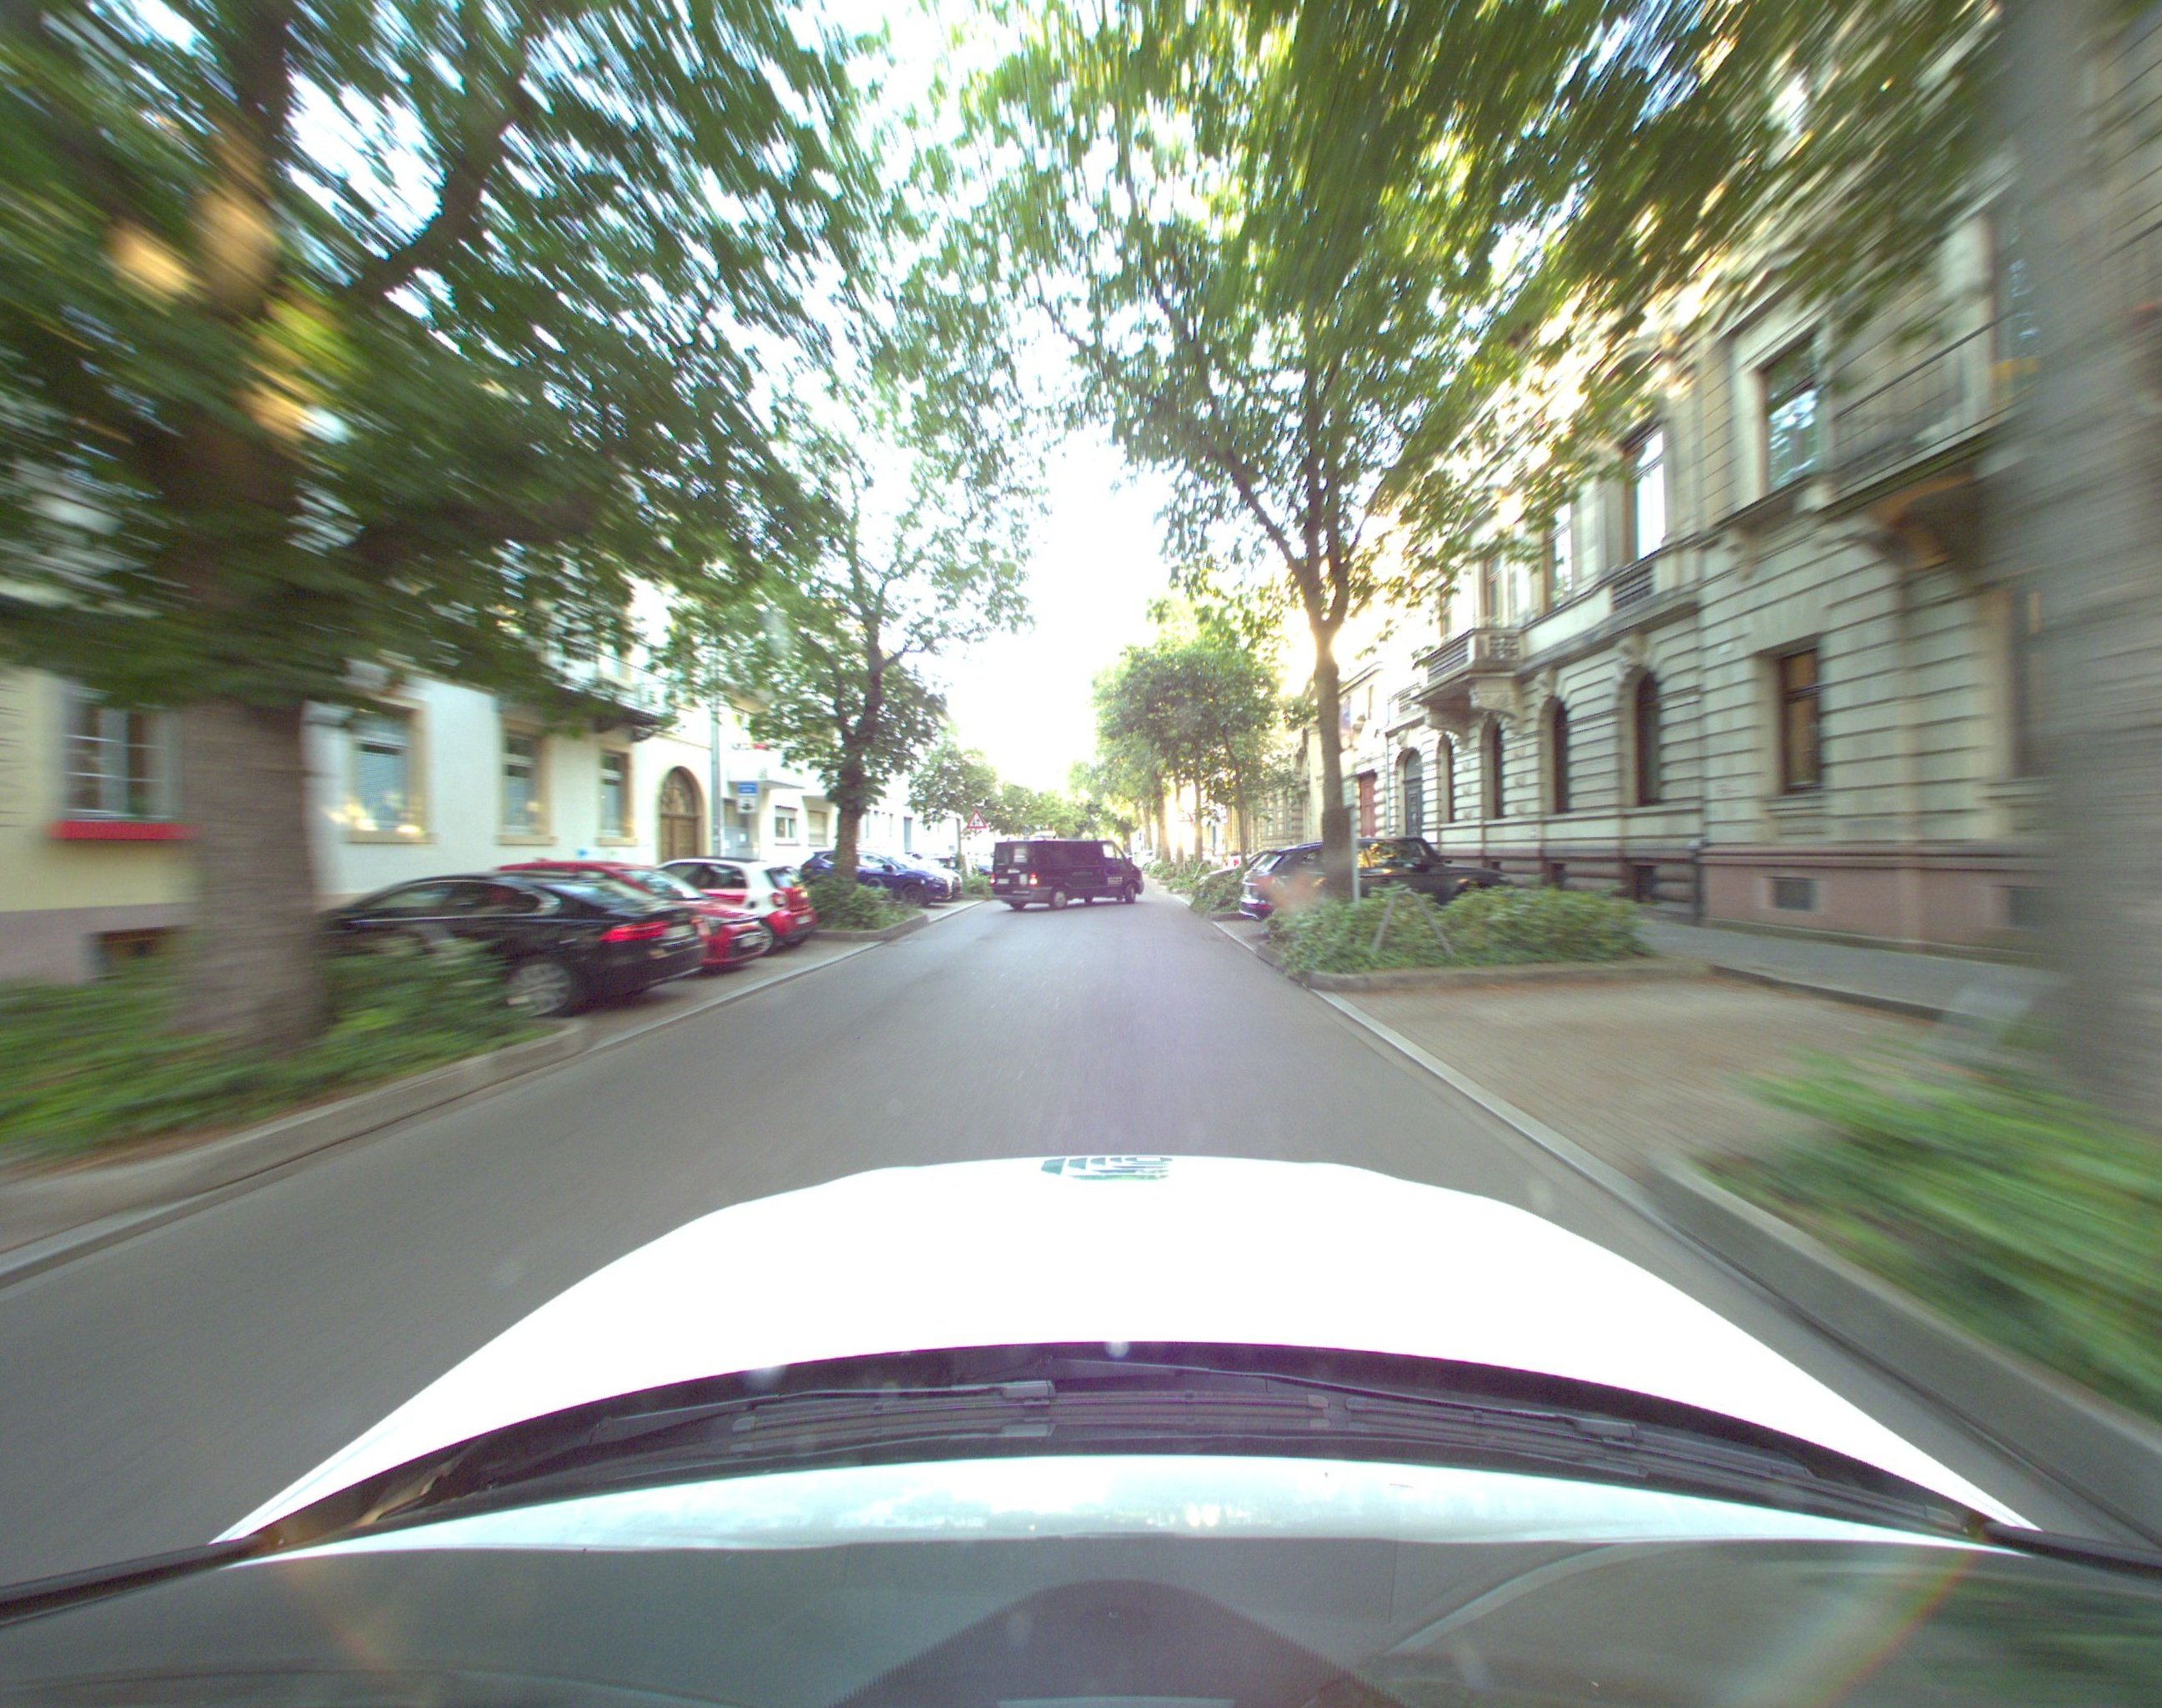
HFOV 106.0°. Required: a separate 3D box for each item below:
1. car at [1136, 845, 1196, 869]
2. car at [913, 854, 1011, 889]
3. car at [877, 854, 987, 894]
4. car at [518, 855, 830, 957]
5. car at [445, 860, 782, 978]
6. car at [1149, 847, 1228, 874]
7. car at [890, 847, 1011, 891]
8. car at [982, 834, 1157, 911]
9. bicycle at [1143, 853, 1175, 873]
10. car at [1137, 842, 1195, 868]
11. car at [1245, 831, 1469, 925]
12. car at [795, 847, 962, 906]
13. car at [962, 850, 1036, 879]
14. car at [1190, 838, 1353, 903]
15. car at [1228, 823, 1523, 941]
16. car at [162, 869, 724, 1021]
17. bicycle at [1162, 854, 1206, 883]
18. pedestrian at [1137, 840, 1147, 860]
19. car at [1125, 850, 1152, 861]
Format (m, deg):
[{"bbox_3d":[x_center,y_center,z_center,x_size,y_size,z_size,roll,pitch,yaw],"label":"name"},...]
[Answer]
[{"bbox_3d":[6.222,0.205,59.644,4.205,1.560,1.973,-2,1,4],"label":"car"},{"bbox_3d":[-5.312,0.770,36.554,4.009,1.494,1.783,0,0,5],"label":"car"},{"bbox_3d":[-5.711,0.748,31.514,3.831,1.450,1.856,0,1,1],"label":"car"},{"bbox_3d":[-6.716,0.833,13.776,4.338,1.539,1.772,1,-1,1],"label":"car"},{"bbox_3d":[-6.302,0.838,11.260,3.670,1.449,1.660,1,0,1],"label":"car"},{"bbox_3d":[6.452,0.381,49.355,4.564,1.437,1.927,-2,0,3],"label":"car"},{"bbox_3d":[-5.388,0.594,34.145,4.649,1.765,2.157,0,0,1],"label":"car"},{"bbox_3d":[-0.221,0.458,23.997,2.162,1.990,5.036,-1,1,45],"label":"car"},{"bbox_3d":[5.245,0.578,54.906,2.020,1.204,0.486,-4,0,-11],"label":"bicycle"},{"bbox_3d":[6.955,0.094,67.246,4.527,1.914,1.949,-2,0,-1],"label":"car"},{"bbox_3d":[5.555,0.459,16.774,3.993,1.687,1.766,-2,0,1],"label":"car"},{"bbox_3d":[-5.844,0.637,23.915,4.338,1.573,1.931,1,0,1],"label":"car"},{"bbox_3d":[-4.765,0.622,47.719,4.076,1.632,1.937,-1,0,2],"label":"car"},{"bbox_3d":[5.362,0.463,23.369,4.208,1.481,1.855,-4,0,1],"label":"car"},{"bbox_3d":[4.988,0.466,14.307,4.423,1.717,1.969,-3,-1,1],"label":"car"},{"bbox_3d":[-6.344,0.869,8.525,4.413,1.407,1.717,0,-1,-2],"label":"car"},{"bbox_3d":[4.816,0.676,38.137,2.040,1.360,0.508,0,0,-1],"label":"bicycle"},{"bbox_3d":[6.633,-0.417,89.230,1.039,2.146,1.064,0,-1,2],"label":"pedestrian"},{"bbox_3d":[8.866,0.182,125.826,4.177,1.480,1.853,-3,0,1],"label":"car"}]
